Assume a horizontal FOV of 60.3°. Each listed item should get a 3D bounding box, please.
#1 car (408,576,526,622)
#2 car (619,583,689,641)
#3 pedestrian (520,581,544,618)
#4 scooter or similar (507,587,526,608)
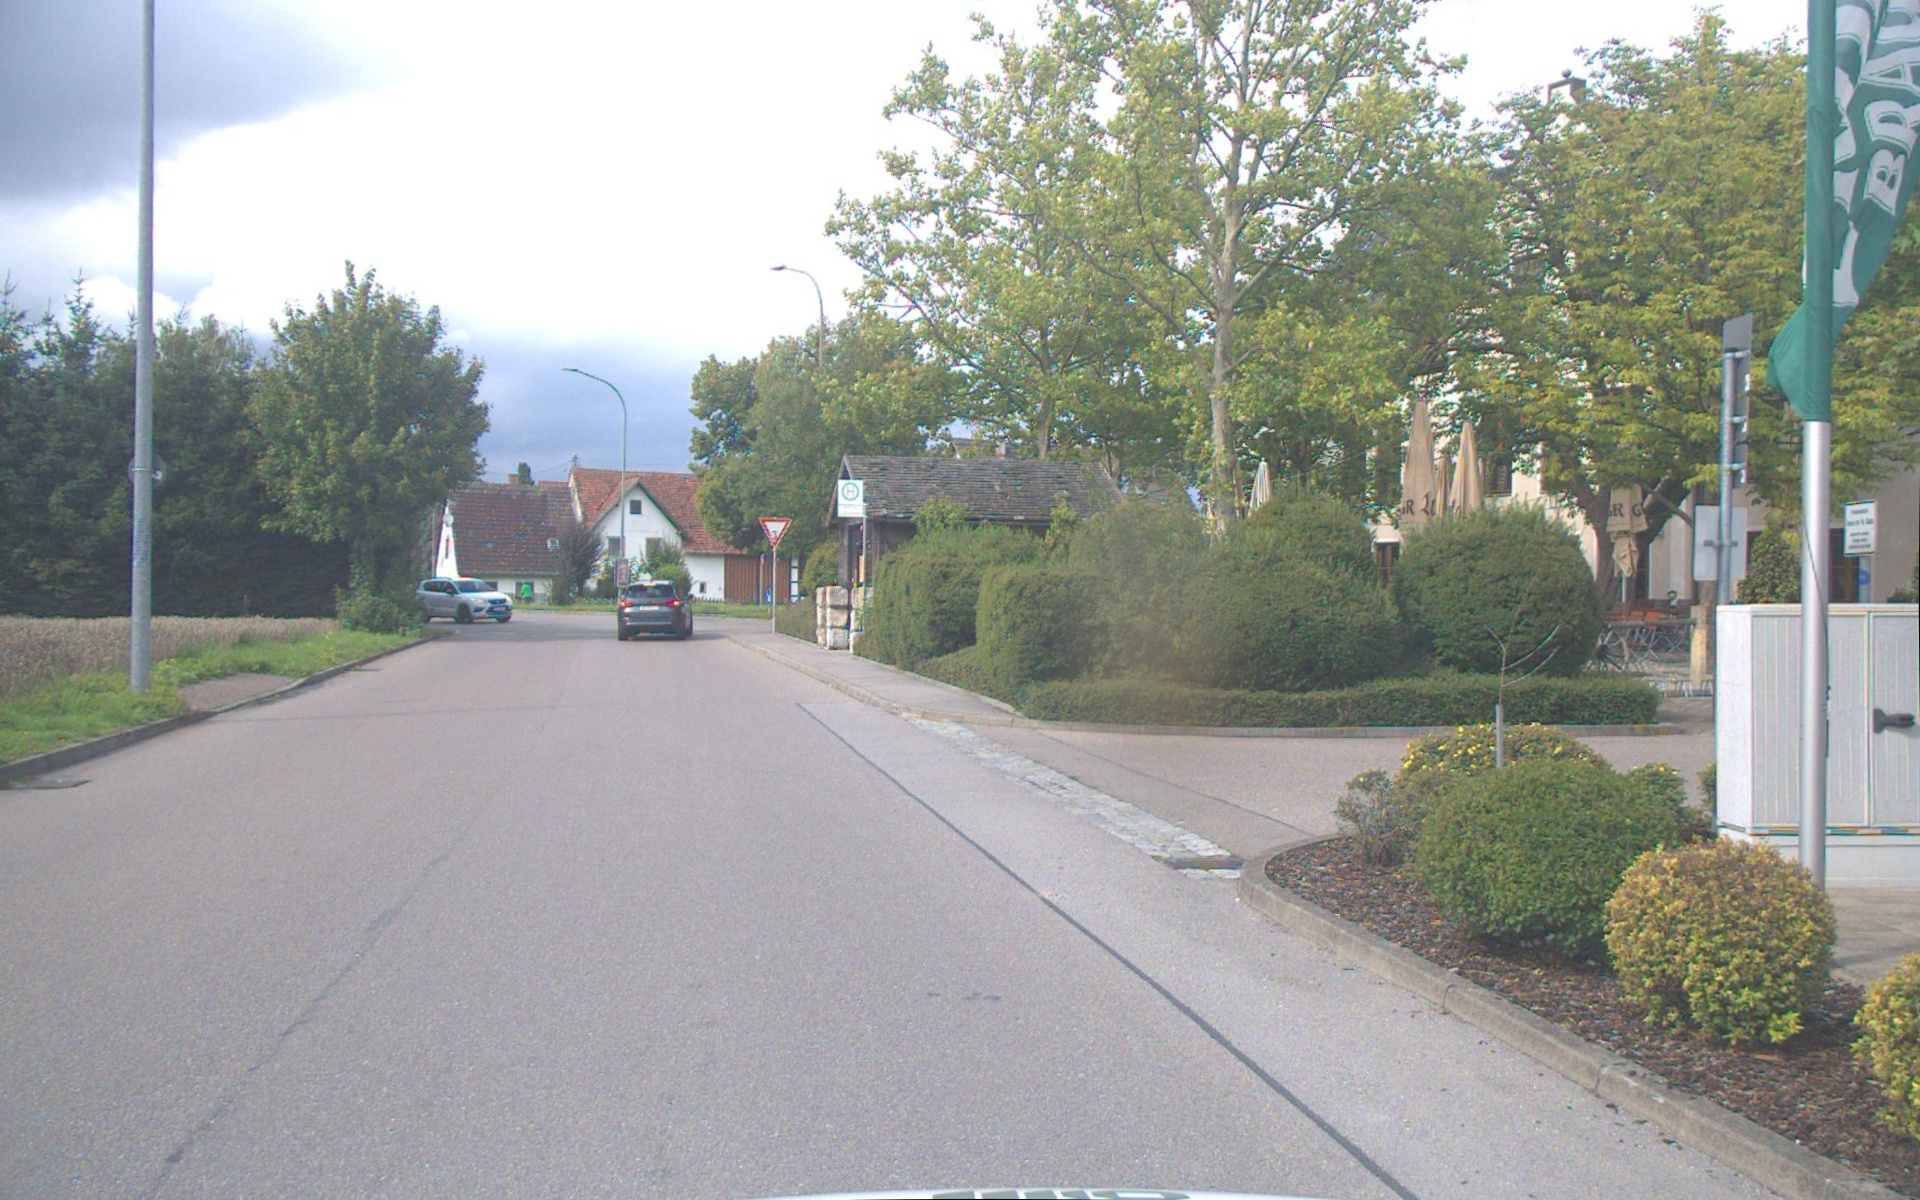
[{"bbox_3d":[-17.604,-0.045,59.058,3.900,1.542,1.802,1,0,27],"label":"car"},{"bbox_3d":[-8.333,0.292,44.899,1.767,1.488,3.651,0,1,-12],"label":"car"},{"bbox_3d":[-20.666,-0.018,79.863,0.785,1.694,0.700,6,-4,-44],"label":"pedestrian"},{"bbox_3d":[-21.465,-0.130,80.052,0.628,0.964,0.612,6,-4,-44],"label":"scooter or similar"}]
